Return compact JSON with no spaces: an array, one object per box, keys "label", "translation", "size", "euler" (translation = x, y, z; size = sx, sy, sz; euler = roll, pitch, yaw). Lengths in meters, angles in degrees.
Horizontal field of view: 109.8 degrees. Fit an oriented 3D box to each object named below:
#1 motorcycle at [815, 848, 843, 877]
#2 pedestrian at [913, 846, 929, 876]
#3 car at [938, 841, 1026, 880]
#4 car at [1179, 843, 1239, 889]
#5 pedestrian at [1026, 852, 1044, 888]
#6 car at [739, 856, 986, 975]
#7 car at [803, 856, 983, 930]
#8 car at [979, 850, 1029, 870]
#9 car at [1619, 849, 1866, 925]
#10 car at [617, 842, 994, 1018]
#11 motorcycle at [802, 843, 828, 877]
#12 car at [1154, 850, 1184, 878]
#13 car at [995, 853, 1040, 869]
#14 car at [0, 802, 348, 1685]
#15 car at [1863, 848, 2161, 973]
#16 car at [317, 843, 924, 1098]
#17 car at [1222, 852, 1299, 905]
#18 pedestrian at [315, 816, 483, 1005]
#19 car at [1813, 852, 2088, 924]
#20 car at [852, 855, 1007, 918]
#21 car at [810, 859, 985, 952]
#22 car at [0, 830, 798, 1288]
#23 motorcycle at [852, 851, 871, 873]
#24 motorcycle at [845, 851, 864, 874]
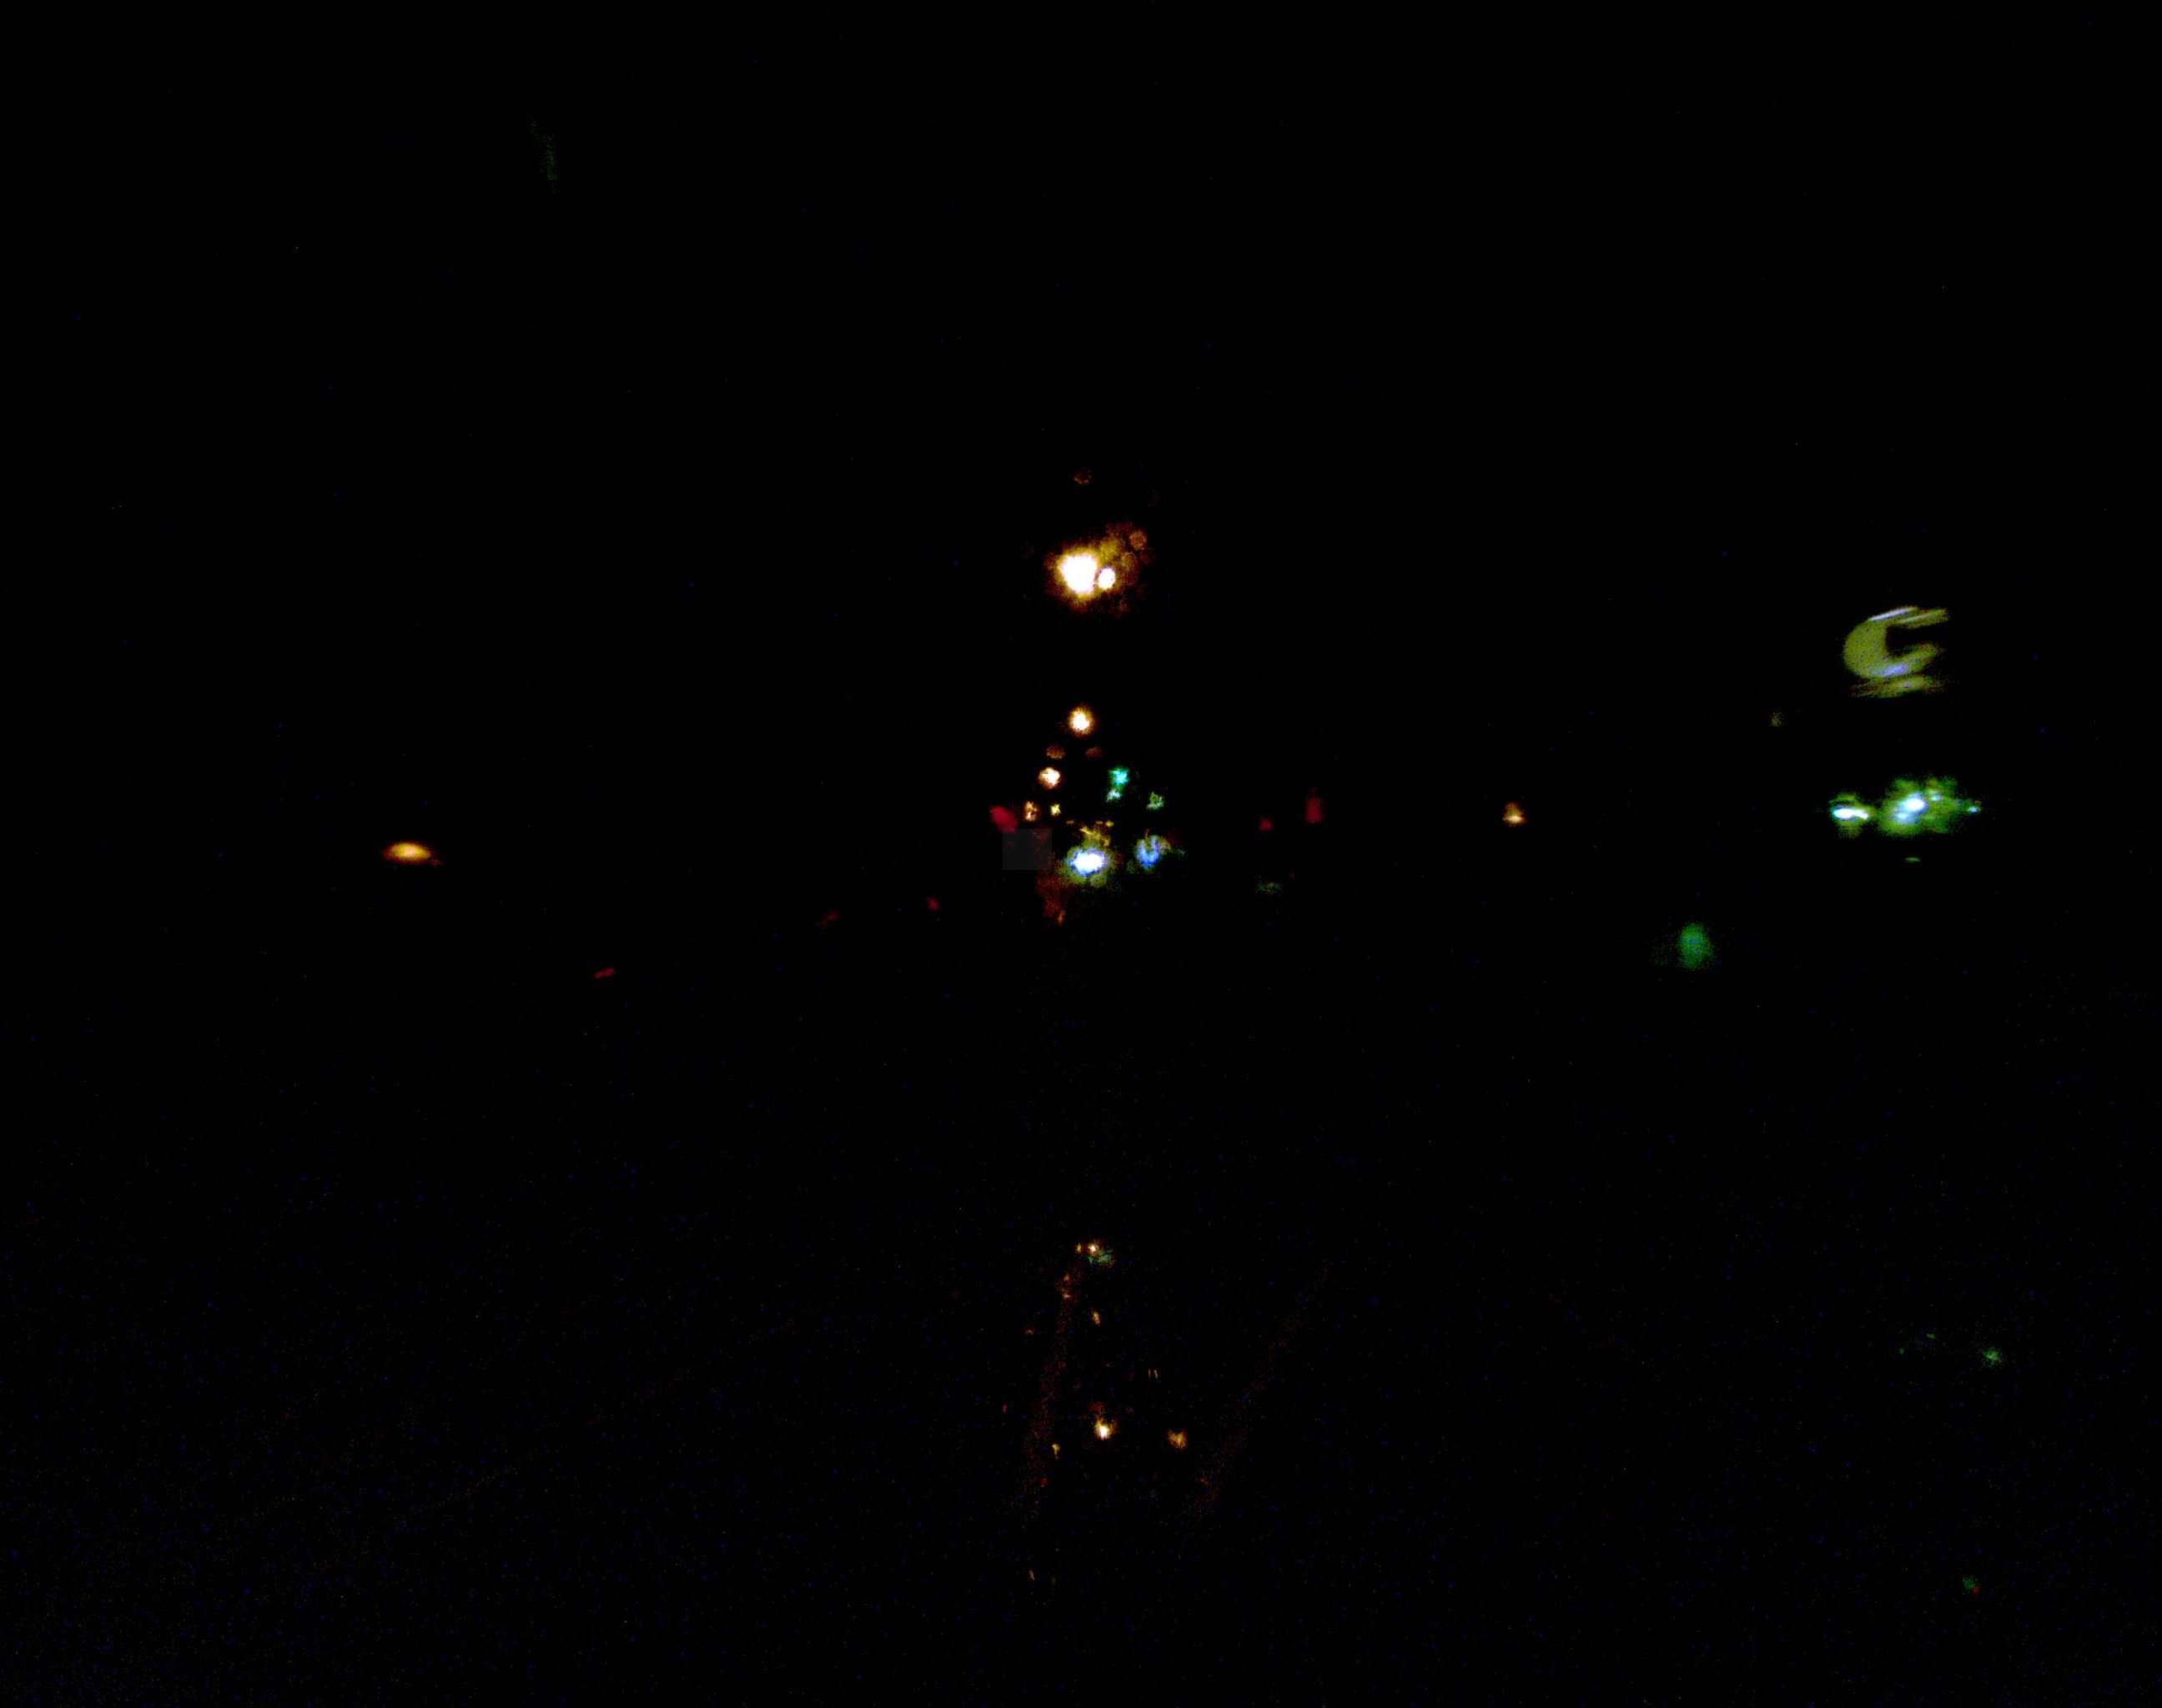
[{"label":"motorcycle","translation":[-11.108,0.360,33.514],"size":[0.524,1.200,2.125],"euler":[-1,0,-1]},{"label":"pedestrian","translation":[-9.851,0.424,46.756],"size":[0.747,1.829,0.843],"euler":[1,-2,-1]},{"label":"car","translation":[-6.112,0.382,47.293],"size":[4.951,2.327,2.226],"euler":[0,1,-34]},{"label":"car","translation":[5.383,0.470,32.552],"size":[1.871,1.835,4.827],"euler":[0,0,1]},{"label":"pedestrian","translation":[-2.243,0.766,37.363],"size":[0.824,1.760,1.177],"euler":[0,1,0]},{"label":"car","translation":[-3.526,0.889,12.346],"size":[3.569,1.601,1.710],"euler":[-2,0,-21]},{"label":"car","translation":[-4.268,0.836,17.294],"size":[3.717,1.514,1.653],"euler":[1,1,-25]},{"label":"car","translation":[-6.516,0.521,64.767],"size":[3.809,1.679,1.831],"euler":[1,0,-31]},{"label":"car","translation":[14.441,0.690,16.753],"size":[3.943,1.562,1.716],"euler":[0,1,0]},{"label":"car","translation":[-3.404,0.797,9.709],"size":[4.112,1.754,1.855],"euler":[-2,0,-27]},{"label":"motorcycle","translation":[-10.779,0.245,30.833],"size":[0.524,1.311,2.124],"euler":[-1,0,-6]},{"label":"car","translation":[5.555,0.620,48.167],"size":[1.816,1.660,4.413],"euler":[-1,0,6]},{"label":"car","translation":[-6.183,0.680,74.077],"size":[4.123,1.483,1.590],"euler":[1,0,-38]},{"label":"car","translation":[-4.049,0.818,1.245],"size":[3.781,1.718,1.713],"euler":[-2,1,-33]},{"label":"car","translation":[14.120,0.739,10.876],"size":[3.997,1.529,1.791],"euler":[-2,0,0]},{"label":"car","translation":[-3.697,0.772,6.831],"size":[4.068,1.601,1.840],"euler":[-2,0,-29]},{"label":"car","translation":[5.414,0.696,23.290],"size":[1.550,1.434,3.563],"euler":[-3,0,2]},{"label":"pedestrian","translation":[-7.109,0.550,7.976],"size":[0.841,1.825,0.947],"euler":[4,2,-4]},{"label":"car","translation":[19.184,0.712,16.908],"size":[3.997,1.440,1.854],"euler":[-1,1,0]},{"label":"car","translation":[-4.006,0.825,20.108],"size":[3.717,1.514,1.653],"euler":[1,1,-25]},{"label":"car","translation":[-3.550,0.922,14.638],"size":[3.051,1.543,1.502],"euler":[-2,1,-21]},{"label":"car","translation":[-3.744,0.790,4.177],"size":[3.809,1.718,1.737],"euler":[-2,1,-30]},{"label":"motorcycle","translation":[-10.880,0.408,37.734],"size":[0.524,1.061,1.624],"euler":[-1,0,-2]},{"label":"motorcycle","translation":[-10.655,0.393,35.789],"size":[0.524,1.061,2.056],"euler":[-1,1,-7]}]
